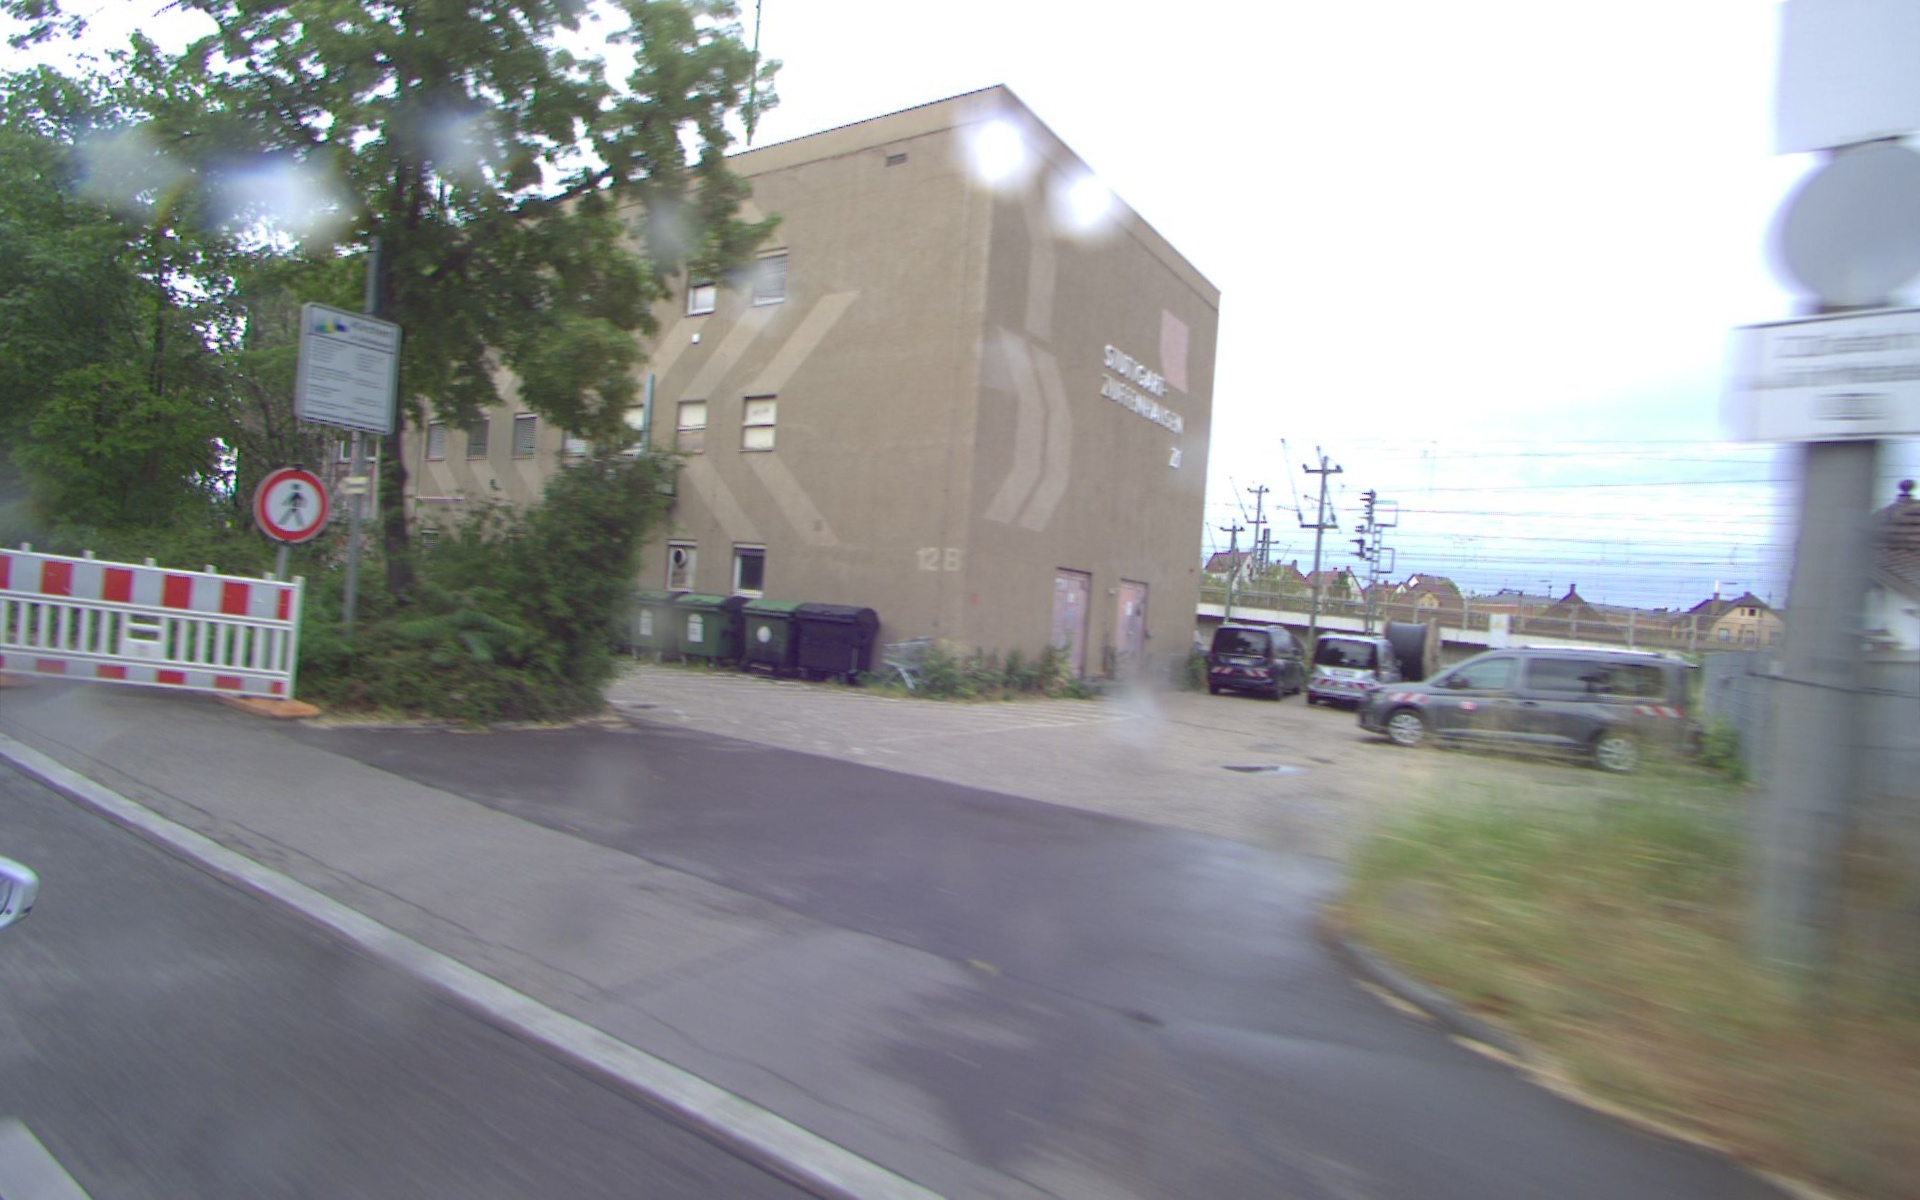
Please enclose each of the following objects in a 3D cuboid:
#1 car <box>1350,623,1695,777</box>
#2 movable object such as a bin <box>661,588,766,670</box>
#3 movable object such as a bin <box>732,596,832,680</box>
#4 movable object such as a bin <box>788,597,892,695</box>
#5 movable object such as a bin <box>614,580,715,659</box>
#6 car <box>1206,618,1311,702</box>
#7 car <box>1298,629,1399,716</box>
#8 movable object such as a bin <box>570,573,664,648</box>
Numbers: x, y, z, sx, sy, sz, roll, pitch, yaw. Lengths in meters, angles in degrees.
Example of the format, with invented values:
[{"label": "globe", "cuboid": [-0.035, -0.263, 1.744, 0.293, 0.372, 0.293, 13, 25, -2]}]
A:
[{"label": "car", "cuboid": [9.025, 1.513, 16.457, 4.577, 1.882, 1.783, 4, 0, 32]}, {"label": "movable object such as a bin", "cuboid": [-4.866, 0.583, 19.879, 1.396, 1.434, 1.305, 7, 1, 34]}, {"label": "movable object such as a bin", "cuboid": [-3.423, 0.737, 19.381, 1.310, 1.434, 1.213, 7, 1, 34]}, {"label": "movable object such as a bin", "cuboid": [-2.216, 0.843, 18.619, 1.310, 1.607, 1.213, 7, 1, 34]}, {"label": "movable object such as a bin", "cuboid": [-6.075, 0.412, 20.716, 1.408, 1.434, 1.305, 7, 1, 34]}, {"label": "car", "cuboid": [7.869, 1.544, 26.302, 1.726, 1.846, 3.804, 6, 0, 29]}, {"label": "car", "cuboid": [9.866, 1.789, 25.380, 1.726, 1.846, 3.993, 6, 0, 29]}, {"label": "movable object such as a bin", "cuboid": [-7.372, 0.232, 21.645, 1.335, 1.434, 1.272, 7, 1, 34]}]
